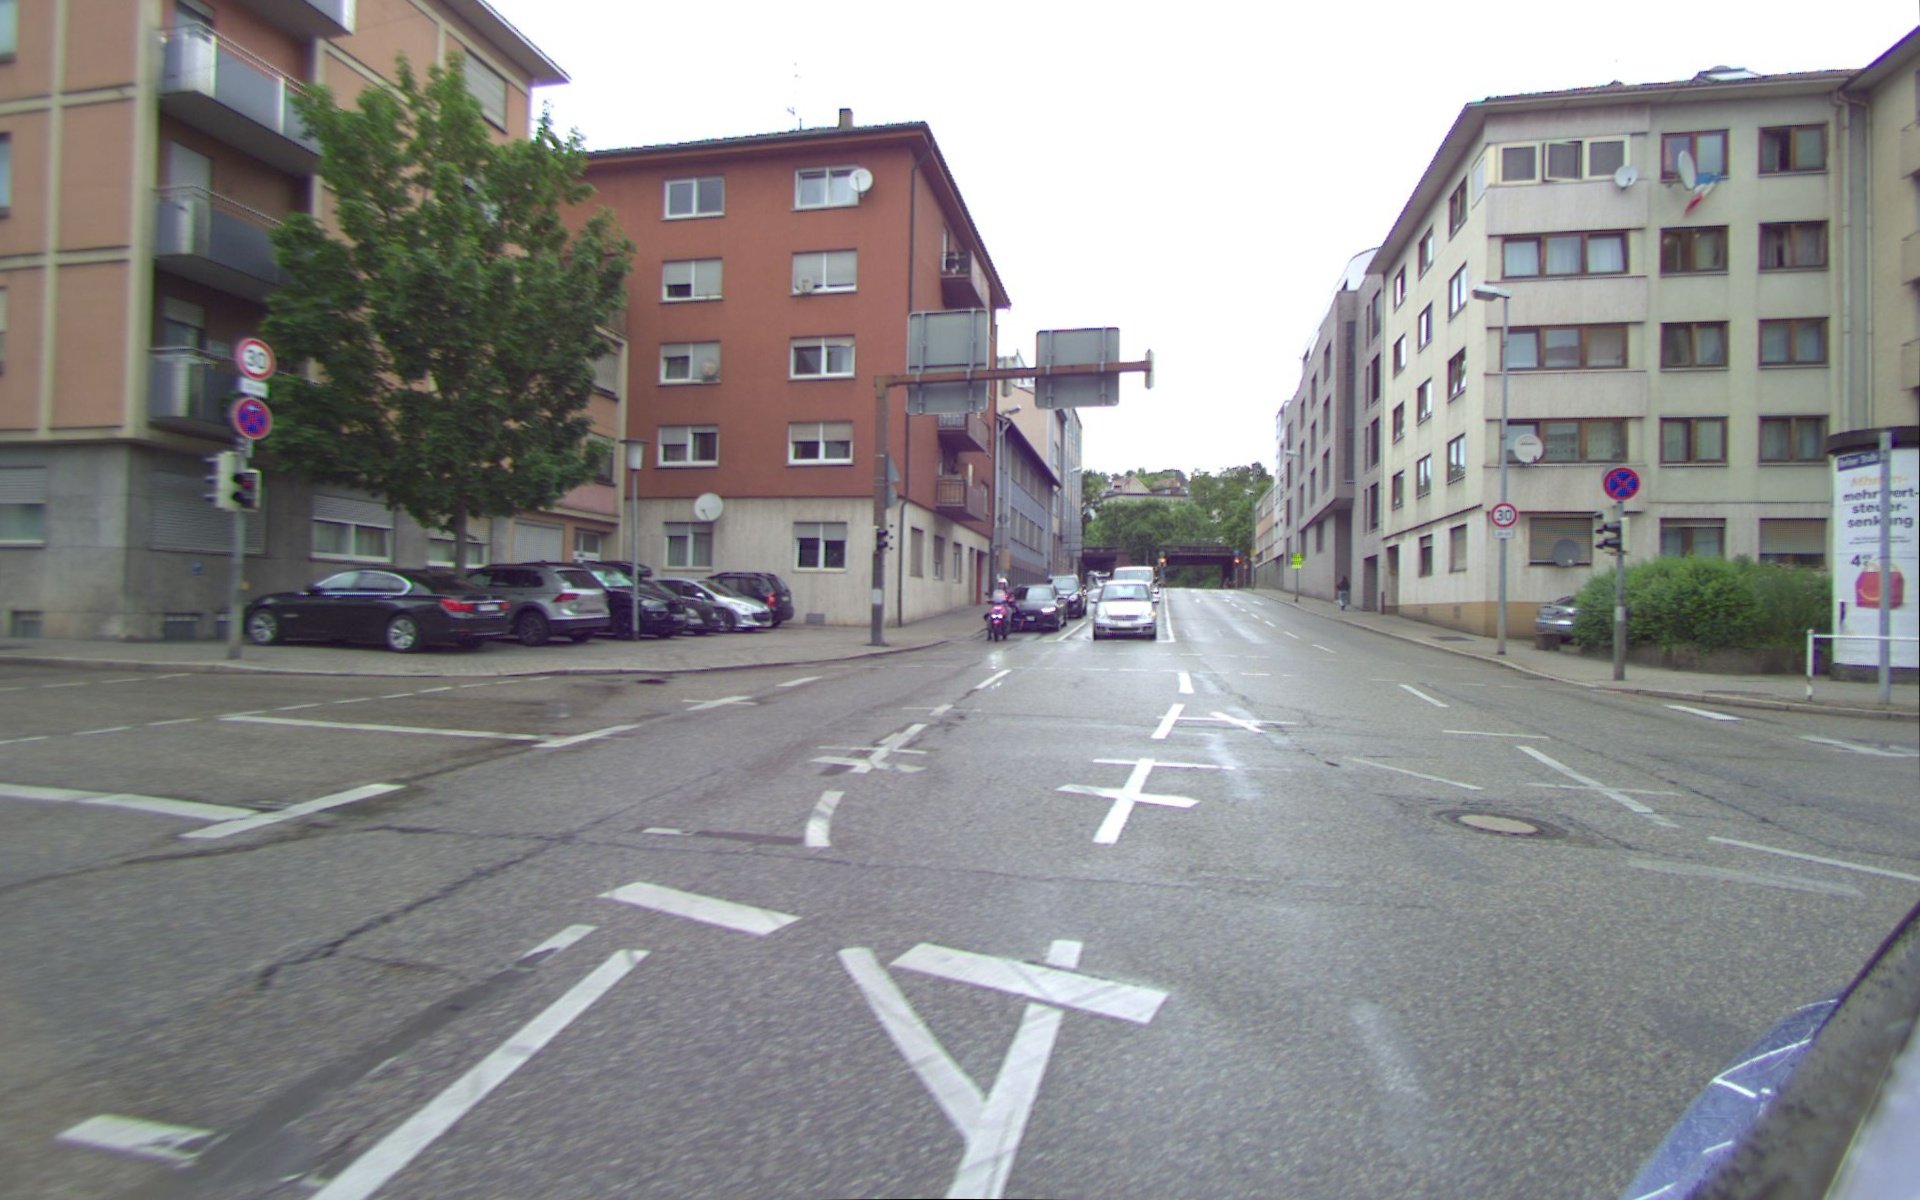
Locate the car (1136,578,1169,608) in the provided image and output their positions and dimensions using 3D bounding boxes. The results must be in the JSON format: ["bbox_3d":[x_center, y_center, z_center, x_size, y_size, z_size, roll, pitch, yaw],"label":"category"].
[{"bbox_3d":[12.818,-0.436,67.178,1.887,1.883,4.834,-1,-1,13],"label":"car"}]

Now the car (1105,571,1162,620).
[{"bbox_3d":[6.042,-0.175,34.977,1.821,1.574,3.987,0,1,11],"label":"car"}]

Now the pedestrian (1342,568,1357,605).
[{"bbox_3d":[18.754,-0.647,48.699,0.527,1.723,0.502,-1,-2,7],"label":"pedestrian"}]

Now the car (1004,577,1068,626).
[{"bbox_3d":[2.523,0.009,32.781,1.844,1.460,3.992,0,1,8],"label":"car"}]

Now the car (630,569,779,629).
[{"bbox_3d":[-7.281,0.021,28.882,3.954,1.602,1.661,-1,-2,23],"label":"car"}]

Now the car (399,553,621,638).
[{"bbox_3d":[-9.481,-0.120,21.436,3.942,1.681,1.984,0,0,15],"label":"car"}]

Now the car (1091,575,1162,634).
[{"bbox_3d":[4.786,0.079,28.769,1.813,1.574,3.986,0,1,12],"label":"car"}]

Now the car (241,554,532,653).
[{"bbox_3d":[-10.540,0.022,18.680,4.726,1.574,1.842,2,1,15],"label":"car"}]

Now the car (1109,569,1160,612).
[{"bbox_3d":[6.951,-0.393,40.070,1.822,1.574,3.985,0,1,13],"label":"car"}]

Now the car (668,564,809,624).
[{"bbox_3d":[-6.900,-0.150,31.554,3.956,1.728,1.983,-1,-2,25],"label":"car"}]

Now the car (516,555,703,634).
[{"bbox_3d":[-8.327,-0.148,24.074,3.956,1.741,1.977,0,1,24],"label":"car"}]

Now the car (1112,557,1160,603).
[{"bbox_3d":[8.297,-0.879,47.503,1.914,1.940,4.834,-1,-1,13],"label":"car"}]

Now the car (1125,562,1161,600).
[{"bbox_3d":[9.891,-0.960,54.515,1.701,1.883,4.331,-1,-1,13],"label":"car"}]

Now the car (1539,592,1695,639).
[{"bbox_3d":[17.678,0.419,27.349,3.212,1.208,1.377,-1,-1,12],"label":"car"}]

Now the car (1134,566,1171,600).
[{"bbox_3d":[11.534,-0.981,60.448,1.887,1.883,4.834,-1,-1,13],"label":"car"}]

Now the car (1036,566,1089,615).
[{"bbox_3d":[4.109,-0.326,40.240,1.766,1.750,3.986,-1,-2,11],"label":"car"}]

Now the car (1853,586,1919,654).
[{"bbox_3d":[22.858,0.465,23.458,1.737,1.492,3.317,-1,2,10],"label":"car"}]

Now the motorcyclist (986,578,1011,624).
[{"bbox_3d":[1.067,0.014,27.817,0.643,1.239,0.657,0,1,5],"label":"motorcyclist"}]

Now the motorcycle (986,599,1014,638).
[{"bbox_3d":[1.110,0.481,27.707,0.626,0.938,2.362,-1,2,5],"label":"motorcycle"}]

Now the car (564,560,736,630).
[{"bbox_3d":[-8.067,-0.129,26.400,3.943,1.720,1.791,1,-1,16],"label":"car"}]
